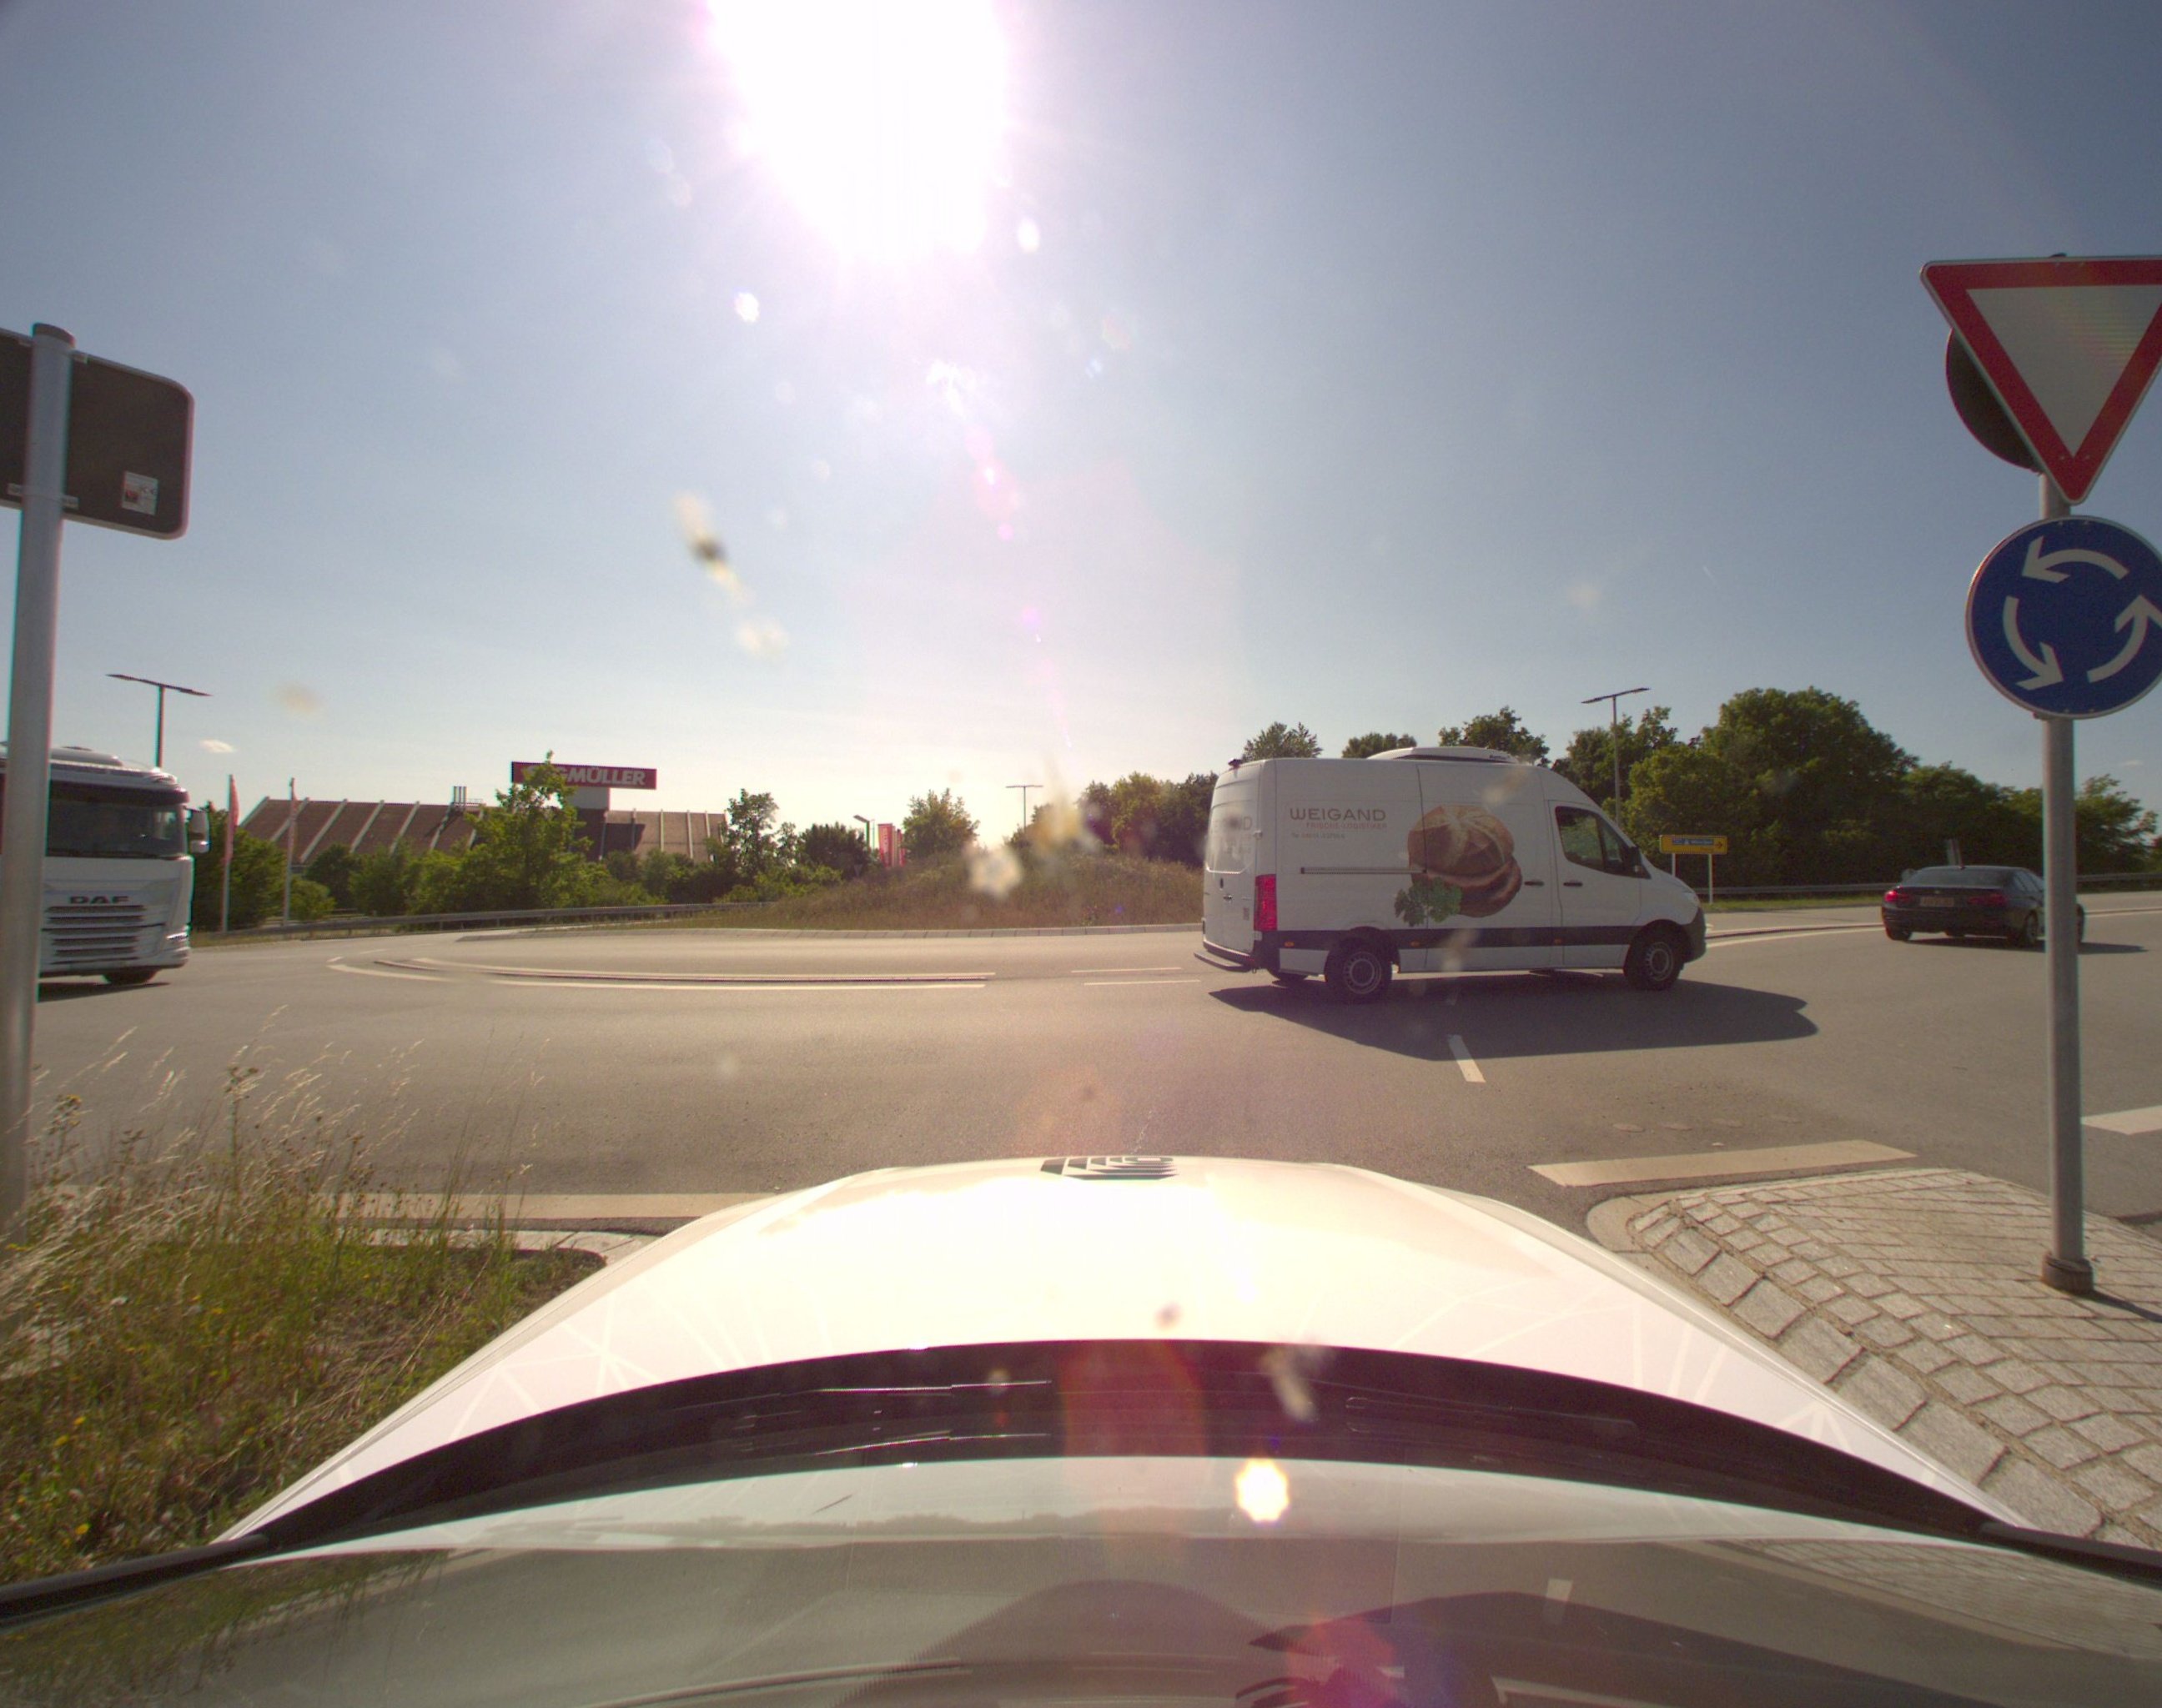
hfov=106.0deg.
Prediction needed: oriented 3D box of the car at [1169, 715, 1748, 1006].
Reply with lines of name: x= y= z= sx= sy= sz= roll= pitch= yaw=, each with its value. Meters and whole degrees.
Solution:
car: x=4.307 y=0.034 z=9.709 sx=6.117 sy=2.921 sz=2.078 roll=-1 pitch=-1 yaw=-9

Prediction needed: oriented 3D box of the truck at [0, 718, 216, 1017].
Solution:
truck: x=-17.644 y=0.240 z=12.930 sx=6.364 sy=4.107 sz=2.674 roll=-1 pitch=-1 yaw=16

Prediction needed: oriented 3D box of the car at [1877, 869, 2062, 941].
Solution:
car: x=16.701 y=0.880 z=15.275 sx=3.878 sy=1.182 sz=1.659 roll=1 pitch=-1 yaw=-32

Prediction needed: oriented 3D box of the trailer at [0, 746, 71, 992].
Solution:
trailer: x=-24.411 y=0.362 z=14.060 sx=12.253 sy=4.154 sz=2.566 roll=-1 pitch=-1 yaw=7
